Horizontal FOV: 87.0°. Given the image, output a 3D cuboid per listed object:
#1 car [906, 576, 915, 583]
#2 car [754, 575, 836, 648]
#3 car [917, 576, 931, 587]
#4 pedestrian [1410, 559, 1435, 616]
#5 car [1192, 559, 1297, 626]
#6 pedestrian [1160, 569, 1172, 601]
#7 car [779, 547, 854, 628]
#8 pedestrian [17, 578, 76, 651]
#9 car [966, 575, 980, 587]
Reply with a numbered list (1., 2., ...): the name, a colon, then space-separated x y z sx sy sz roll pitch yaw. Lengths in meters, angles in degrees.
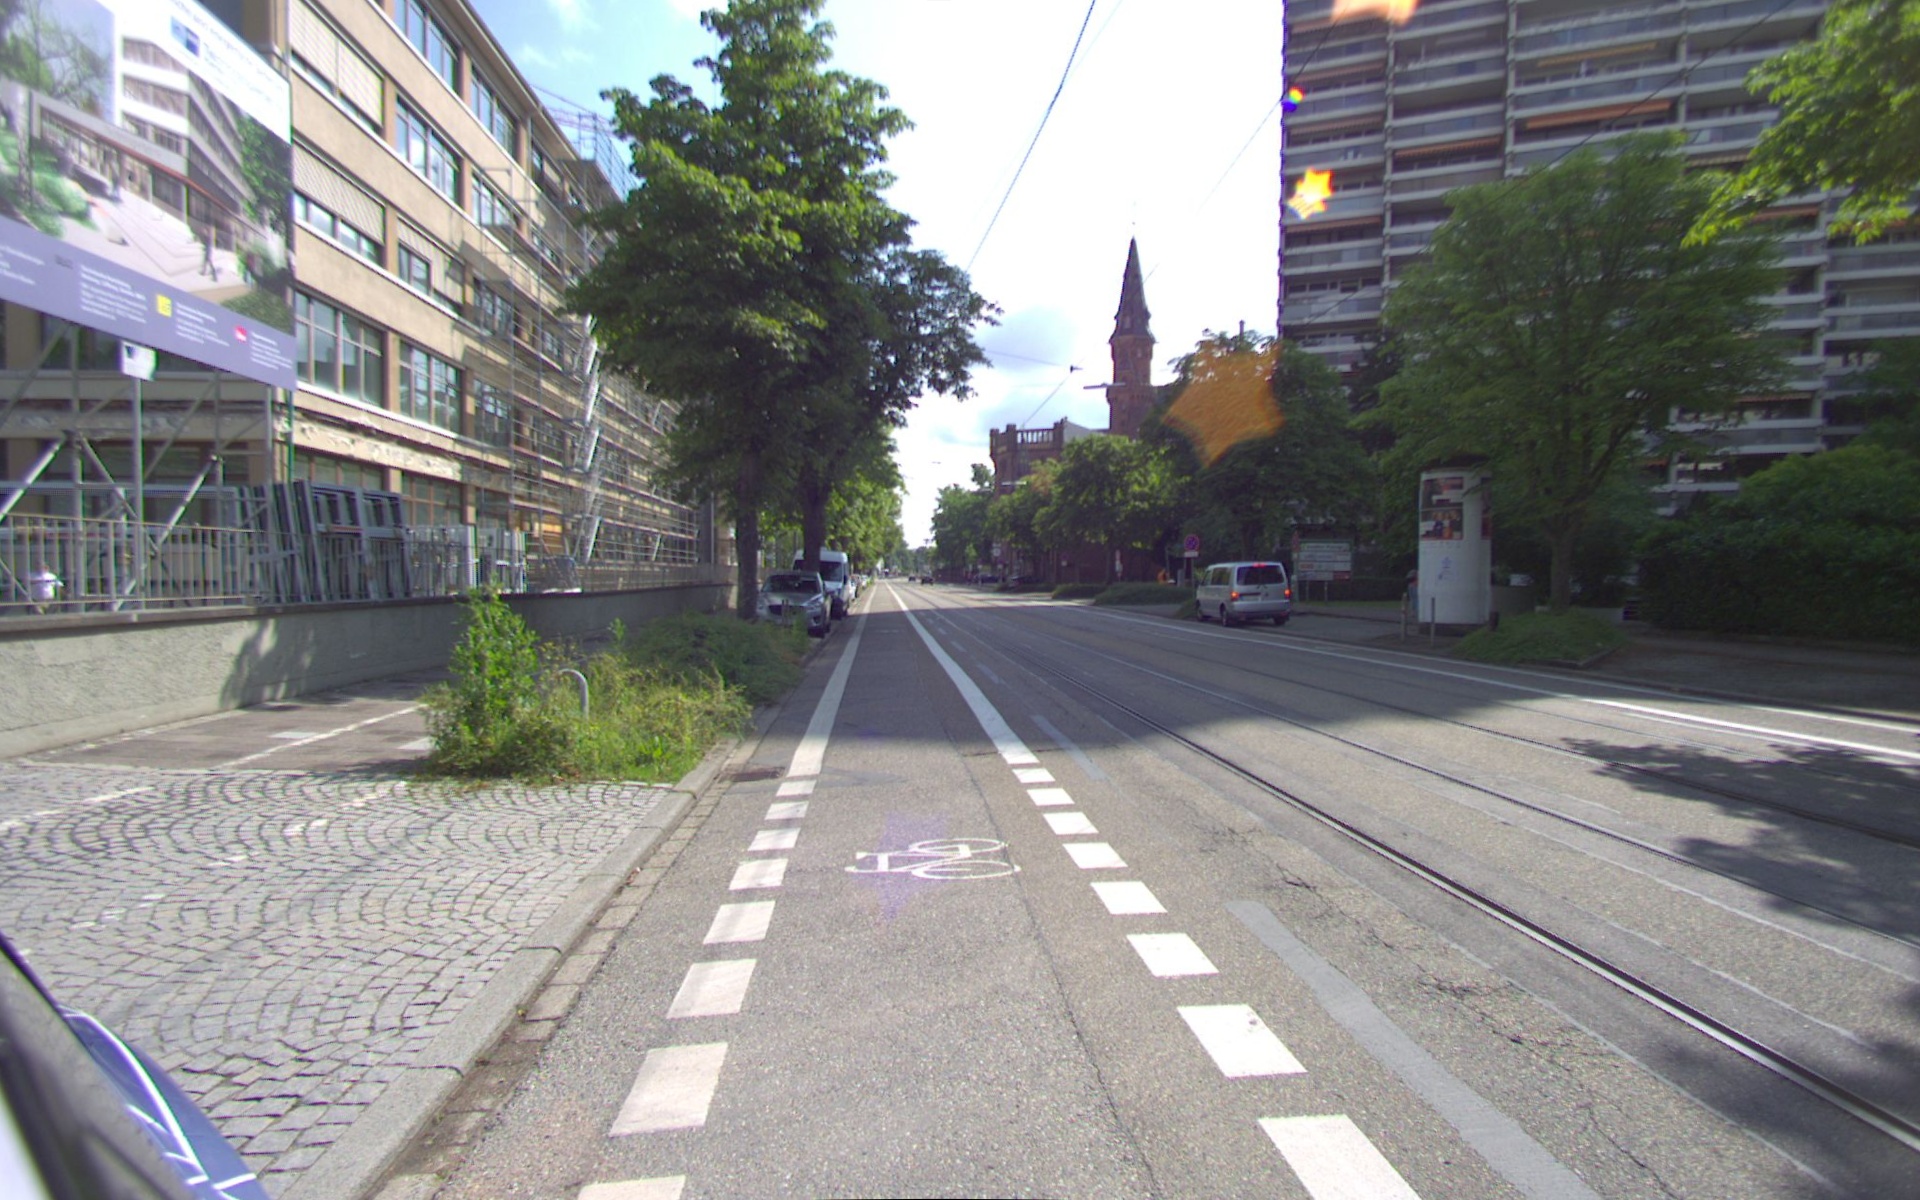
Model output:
1. car: -11.658 -4.742 237.932 1.864 1.656 4.243 -1 1 -6
2. car: -4.174 0.224 26.135 1.725 1.618 4.242 -3 2 -5
3. car: -5.565 -2.905 155.699 1.864 1.656 4.243 -1 1 -6
4. pedestrian: 14.719 -0.395 32.219 0.518 1.767 0.635 -2 4 3
5. car: 8.850 -0.277 31.866 1.865 1.865 4.240 -3 2 -3
6. pedestrian: 11.484 -0.850 56.346 0.455 1.767 0.535 -2 4 -10
7. car: -5.080 -0.490 36.623 2.303 2.579 5.397 -3 2 -5
8. pedestrian: -17.082 0.267 18.930 0.628 1.322 0.462 -1 4 10
9. car: 1.769 -2.637 141.571 1.605 1.585 3.956 3 1 -4
